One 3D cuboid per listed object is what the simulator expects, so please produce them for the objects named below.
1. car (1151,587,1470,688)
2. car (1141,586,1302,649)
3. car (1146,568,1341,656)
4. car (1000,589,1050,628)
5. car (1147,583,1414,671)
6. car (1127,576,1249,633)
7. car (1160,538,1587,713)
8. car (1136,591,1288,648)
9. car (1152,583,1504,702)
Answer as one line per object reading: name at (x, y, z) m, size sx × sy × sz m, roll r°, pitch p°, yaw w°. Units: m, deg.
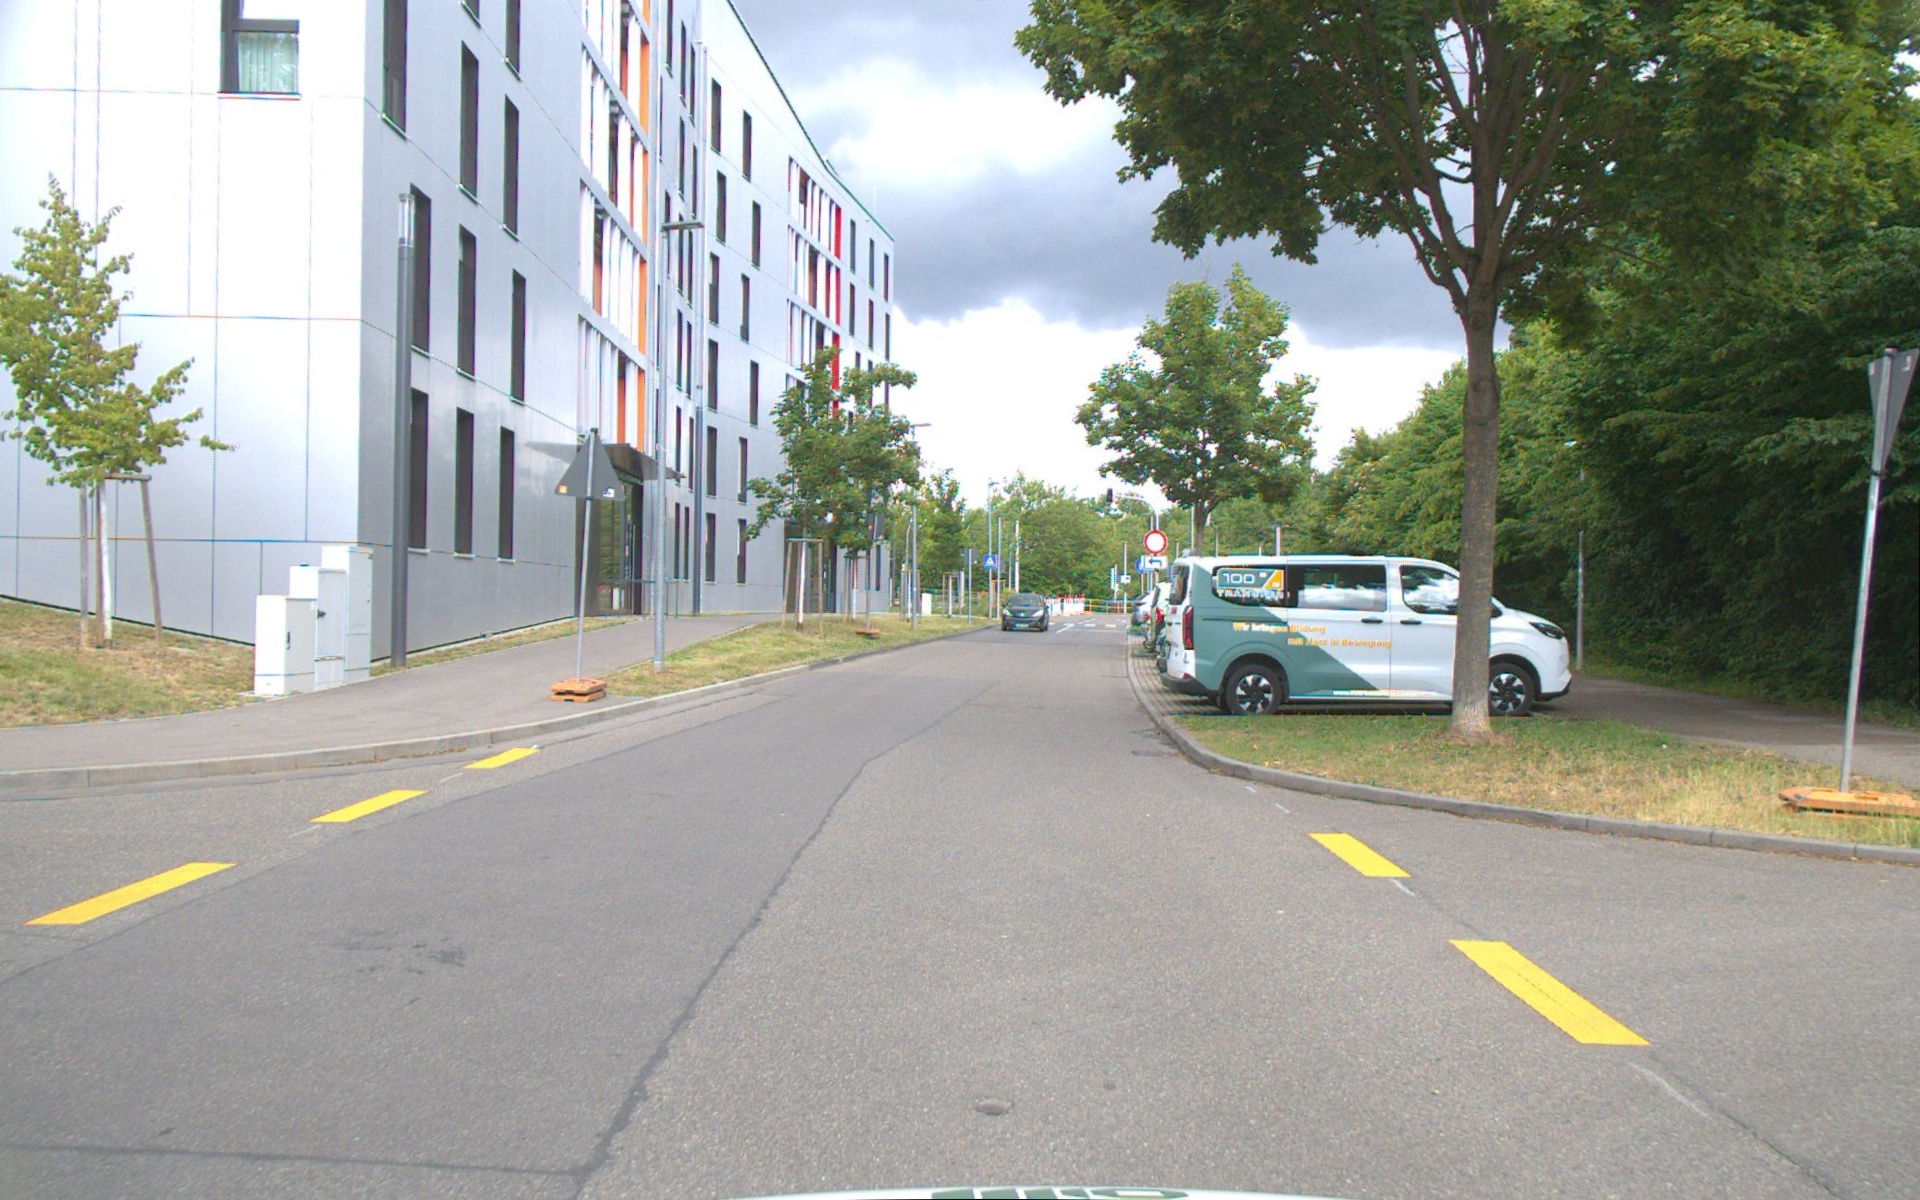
car at (5.339, 0.558, 25.747) m, size 4.624 × 1.459 × 2.058 m, roll -1°, pitch 1°, yaw 5°
car at (7.272, 0.486, 46.339) m, size 4.287 × 1.601 × 1.917 m, roll 2°, pitch 0°, yaw 4°
car at (6.530, 0.270, 38.528) m, size 4.287 × 1.937 × 1.917 m, roll -1°, pitch 0°, yaw 4°
car at (2.552, 0.304, 63.882) m, size 1.575 × 1.412 × 4.003 m, roll 2°, pitch 1°, yaw 7°
car at (5.930, 0.480, 31.061) m, size 4.628 × 1.525 × 2.112 m, roll -1°, pitch 0°, yaw 1°
car at (8.419, 0.162, 61.365) m, size 4.287 × 1.936 × 1.917 m, roll 2°, pitch 1°, yaw 4°
car at (5.048, 0.294, 20.673) m, size 4.870 × 2.006 × 1.847 m, roll -1°, pitch 0°, yaw 0°
car at (7.439, 0.562, 49.128) m, size 4.287 × 1.500 × 1.917 m, roll 2°, pitch 1°, yaw 4°
car at (5.059, 0.567, 23.247) m, size 4.604 × 1.543 × 1.848 m, roll -1°, pitch 0°, yaw 4°
